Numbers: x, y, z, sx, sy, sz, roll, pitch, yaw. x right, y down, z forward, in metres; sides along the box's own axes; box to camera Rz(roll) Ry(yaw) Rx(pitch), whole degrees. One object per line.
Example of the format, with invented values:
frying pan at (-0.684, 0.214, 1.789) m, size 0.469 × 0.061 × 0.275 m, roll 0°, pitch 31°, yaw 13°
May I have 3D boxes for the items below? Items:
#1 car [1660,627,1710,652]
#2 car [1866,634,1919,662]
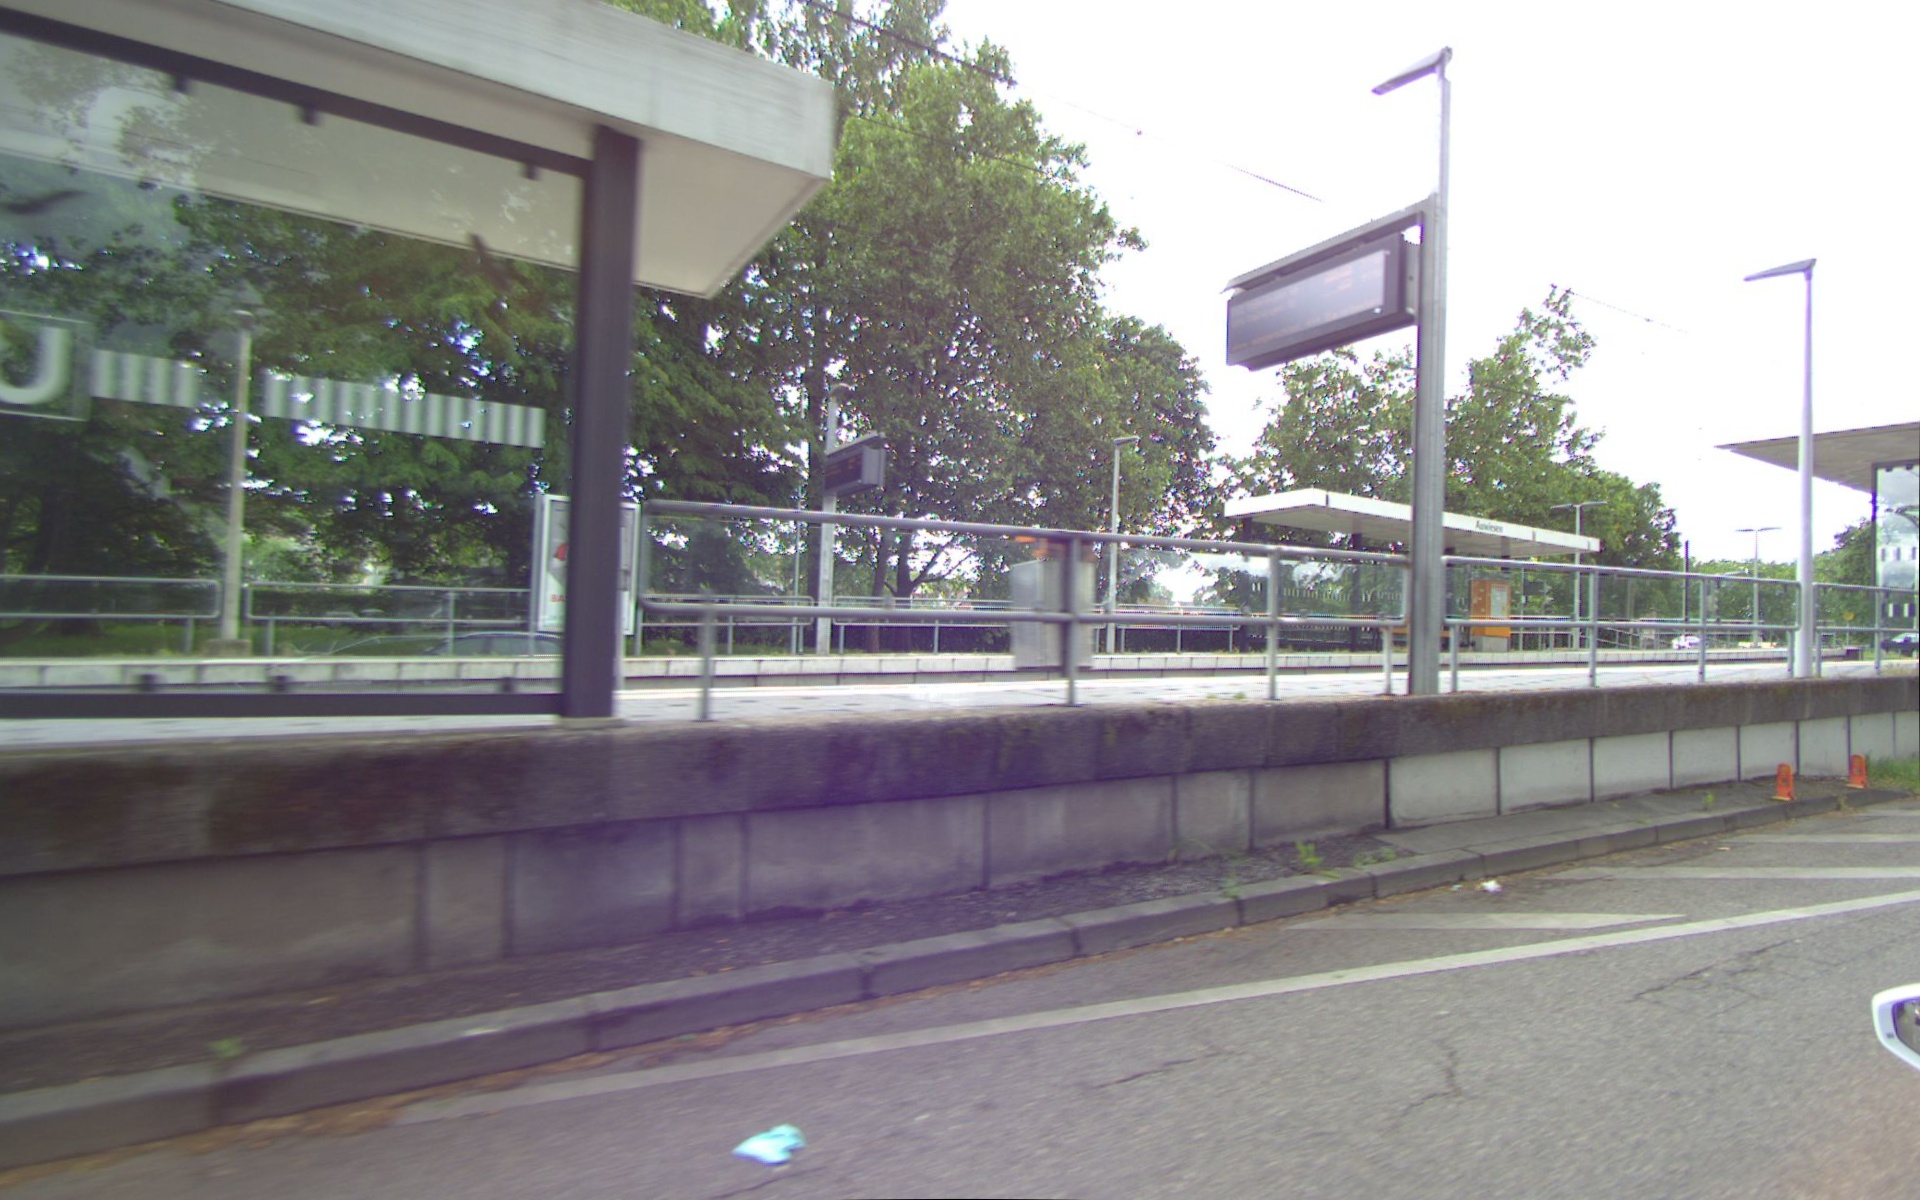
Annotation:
car at (56.175, 3.039, 77.909) m, size 1.582 × 1.728 × 3.393 m, roll 3°, pitch 0°, yaw 5°
car at (50.891, 2.562, 53.704) m, size 1.959 × 1.418 × 4.002 m, roll 0°, pitch -1°, yaw 13°
